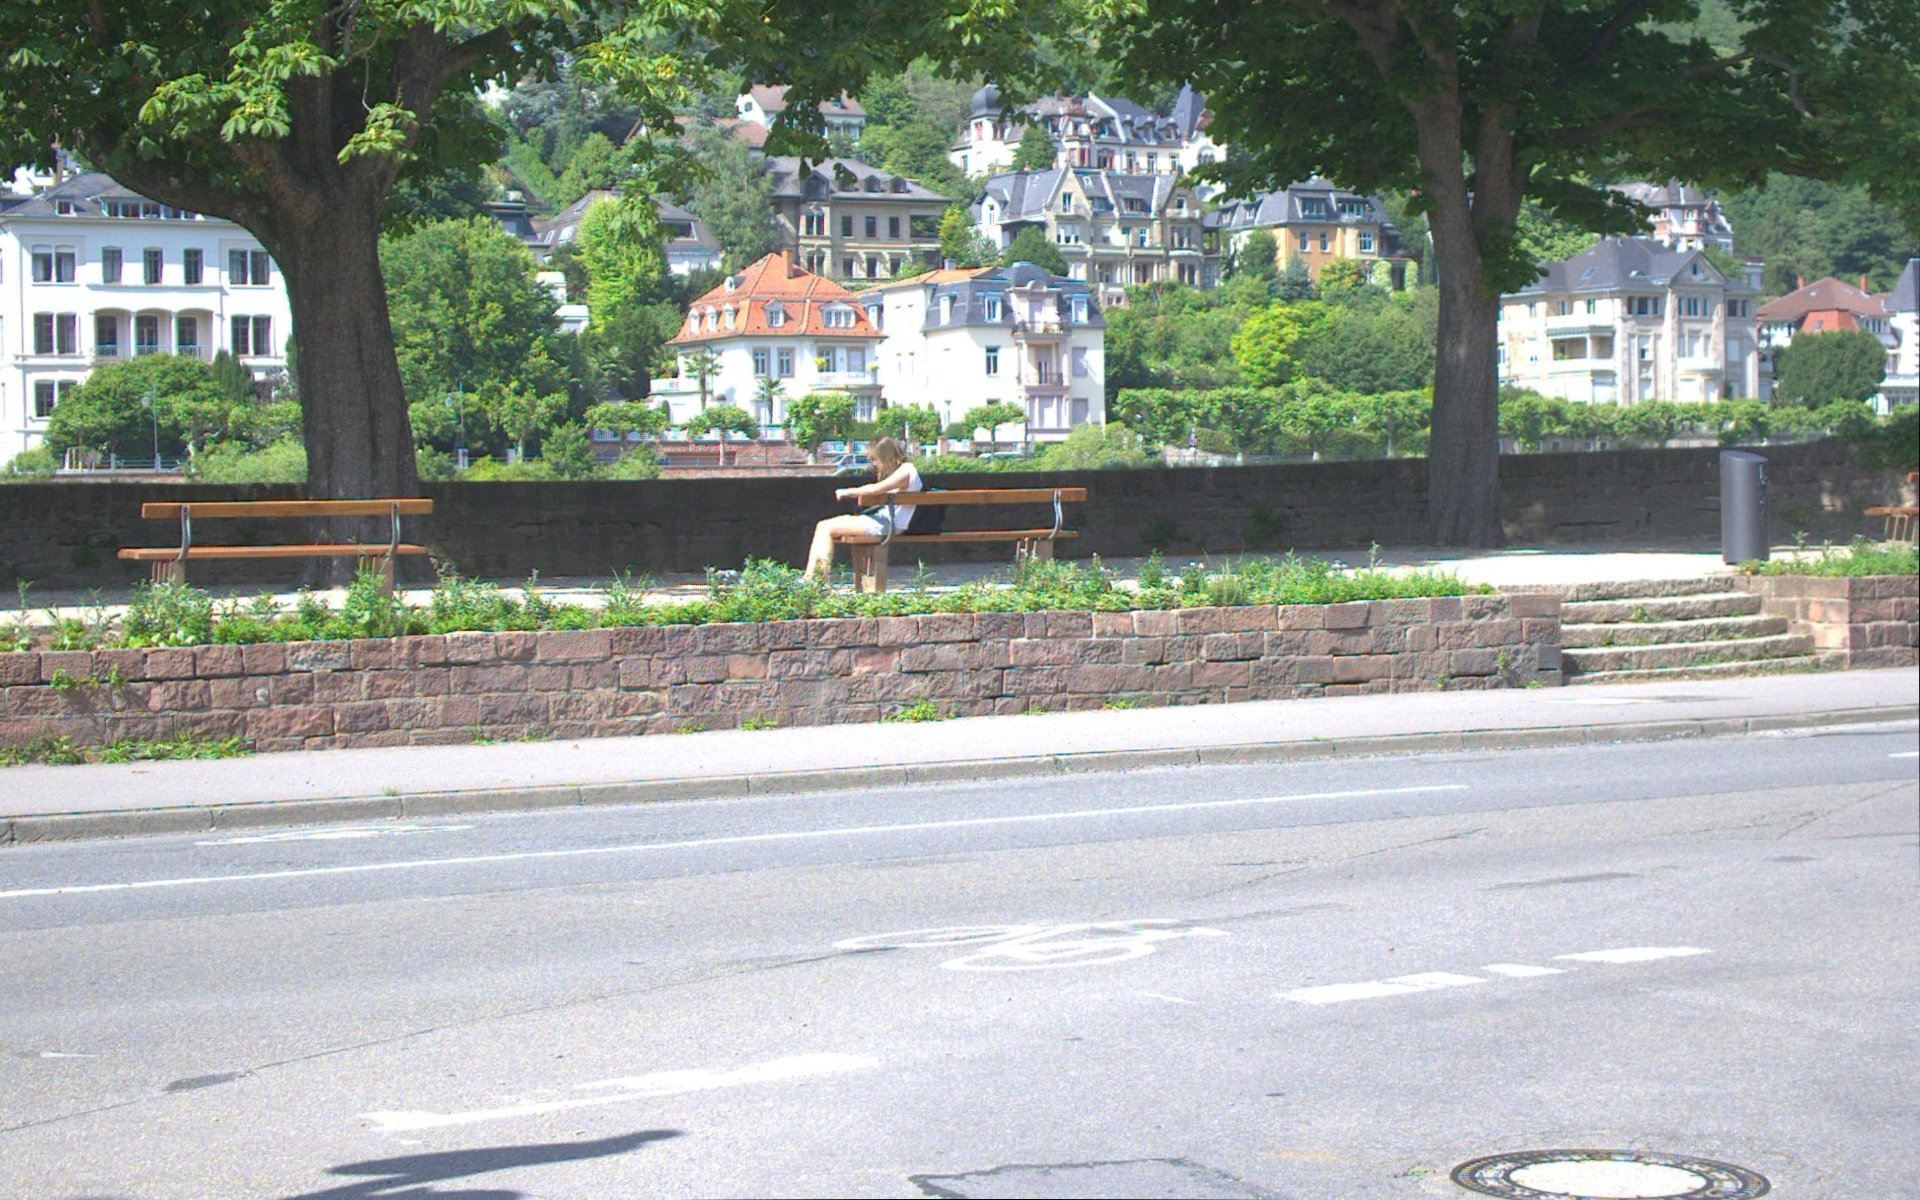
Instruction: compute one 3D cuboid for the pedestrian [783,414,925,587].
[{"bbox_3d":[-0.784,-0.722,25.269,0.797,1.207,0.715,1,-3,-28],"label":"pedestrian"}]
